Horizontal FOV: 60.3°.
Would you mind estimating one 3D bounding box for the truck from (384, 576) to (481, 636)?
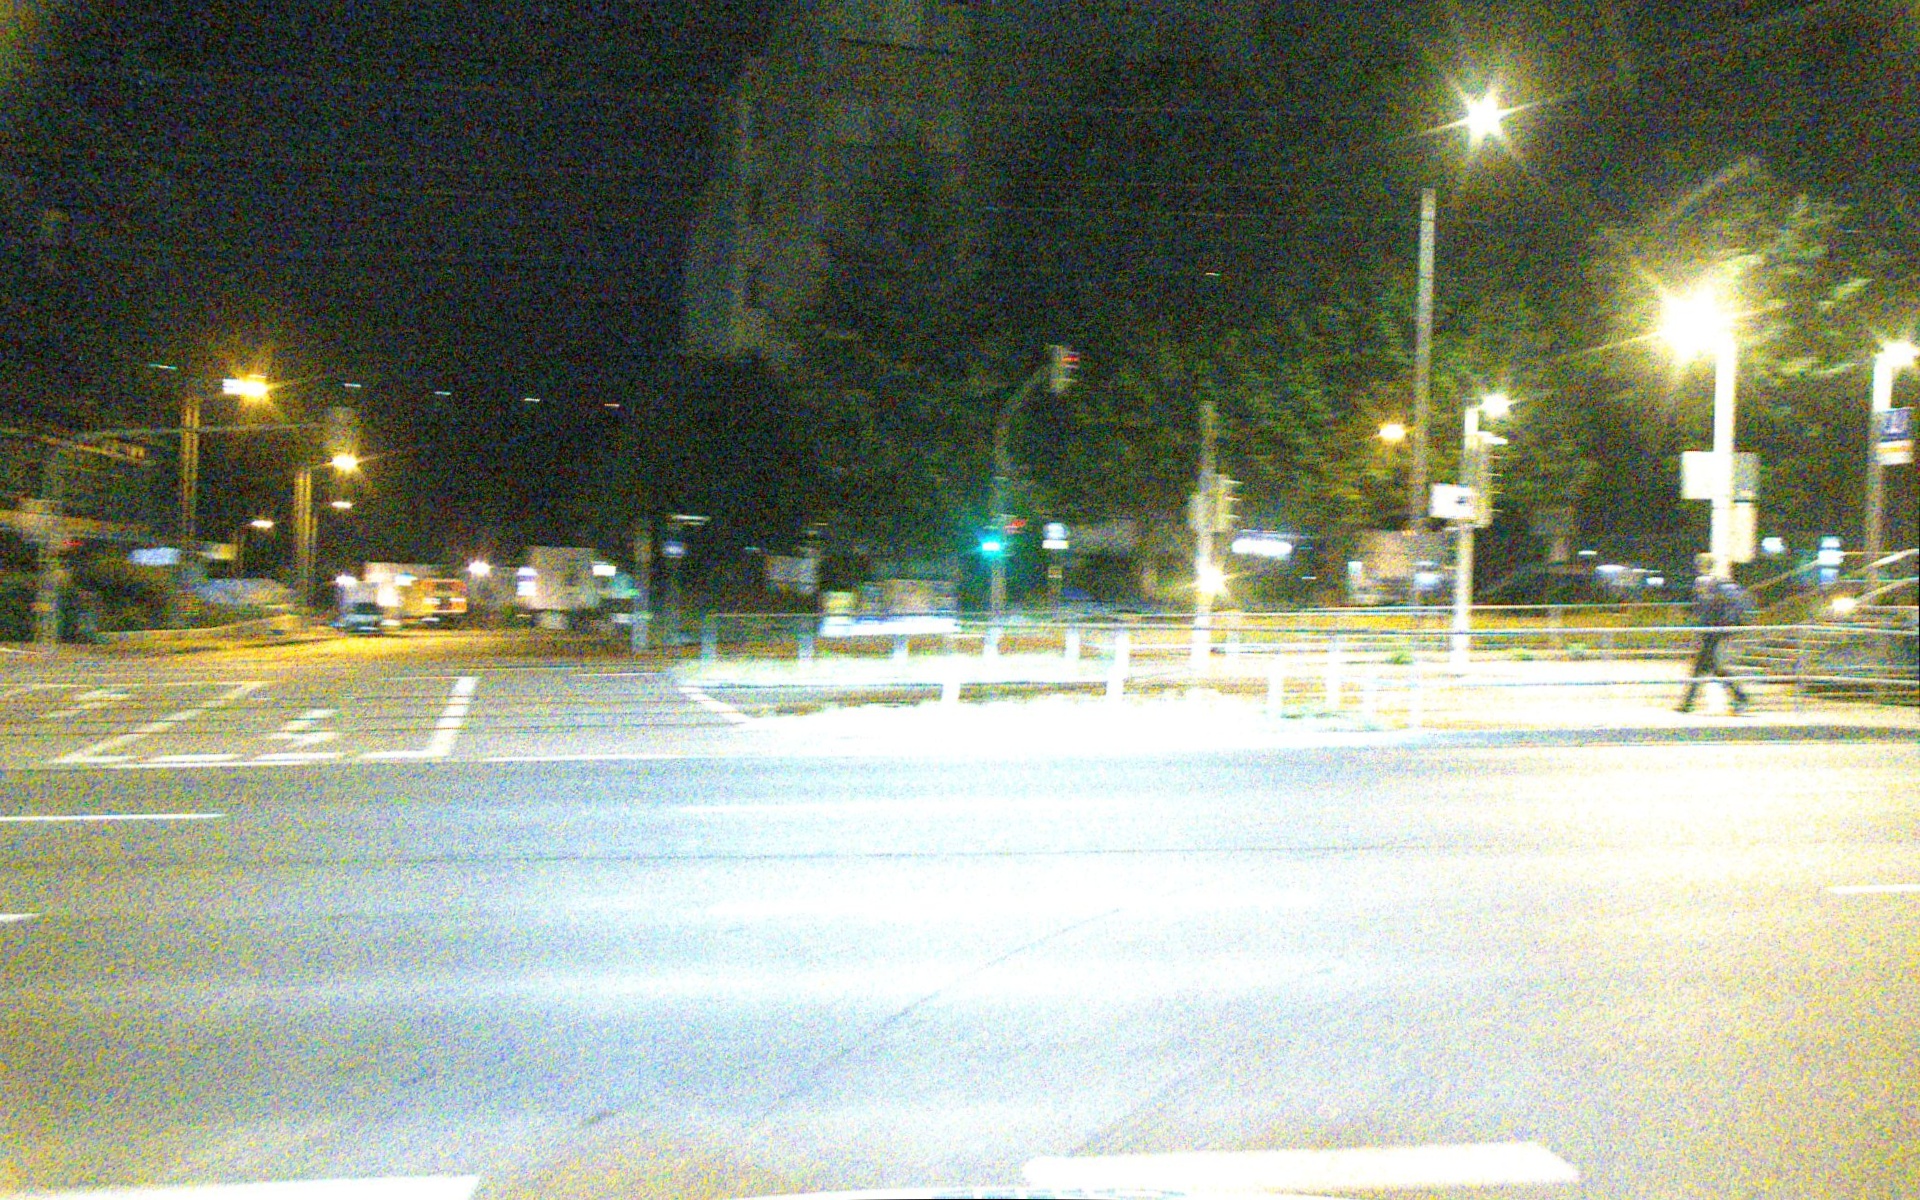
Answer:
[{"bbox_3d":[-43.263,0.434,135.210,4.774,4.627,12.532,1,0,-31],"label":"truck"}]

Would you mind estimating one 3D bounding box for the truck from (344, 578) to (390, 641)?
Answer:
[{"bbox_3d":[-37.290,0.580,103.968,2.546,3.772,5.701,1,0,-21],"label":"truck"}]

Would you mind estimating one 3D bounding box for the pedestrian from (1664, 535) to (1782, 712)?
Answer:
[{"bbox_3d":[7.951,0.226,17.258,0.742,1.775,0.831,-2,2,-13],"label":"pedestrian"}]

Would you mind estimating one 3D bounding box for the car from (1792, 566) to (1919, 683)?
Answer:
[{"bbox_3d":[17.927,0.402,30.755,3.912,2.049,1.996,-2,0,-8],"label":"car"}]
